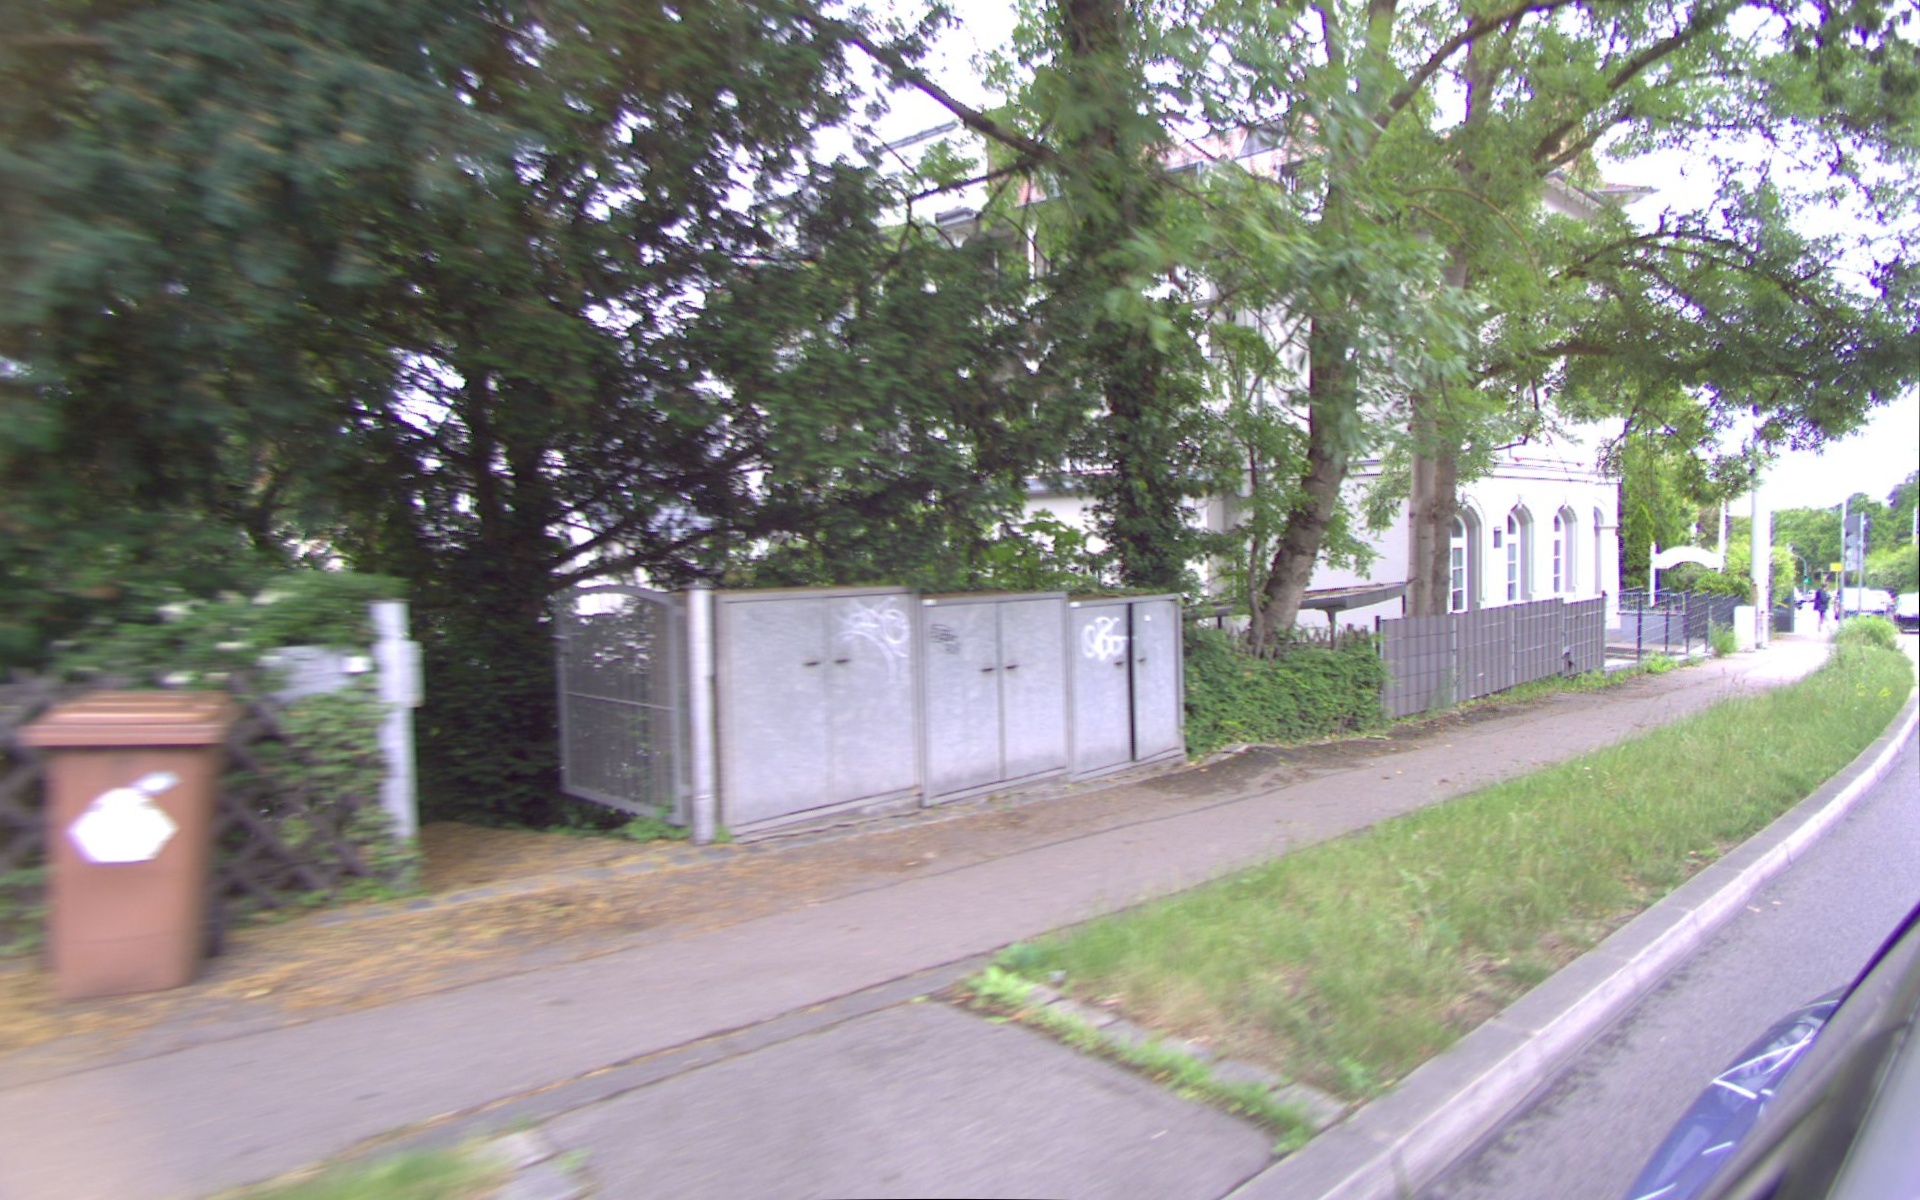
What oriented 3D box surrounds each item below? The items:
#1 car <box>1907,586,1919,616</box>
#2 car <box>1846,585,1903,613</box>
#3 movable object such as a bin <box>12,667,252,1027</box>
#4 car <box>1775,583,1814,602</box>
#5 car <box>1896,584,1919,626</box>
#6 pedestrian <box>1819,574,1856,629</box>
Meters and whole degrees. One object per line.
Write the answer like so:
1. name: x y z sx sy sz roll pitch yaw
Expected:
1. car: 51.403 0.057 53.055 1.666 1.560 4.563 1 1 32
2. car: 48.454 -0.105 53.670 1.798 1.411 4.228 1 1 36
3. movable object such as a bin: -2.668 0.724 3.258 0.558 0.959 0.555 0 0 -44
4. car: 64.023 -0.583 77.721 1.795 1.411 4.234 1 1 33
5. car: 37.992 0.180 39.542 1.670 1.560 4.552 2 2 38
6. pedestrian: 30.325 0.048 34.988 0.681 1.857 0.620 -1 0 -3
